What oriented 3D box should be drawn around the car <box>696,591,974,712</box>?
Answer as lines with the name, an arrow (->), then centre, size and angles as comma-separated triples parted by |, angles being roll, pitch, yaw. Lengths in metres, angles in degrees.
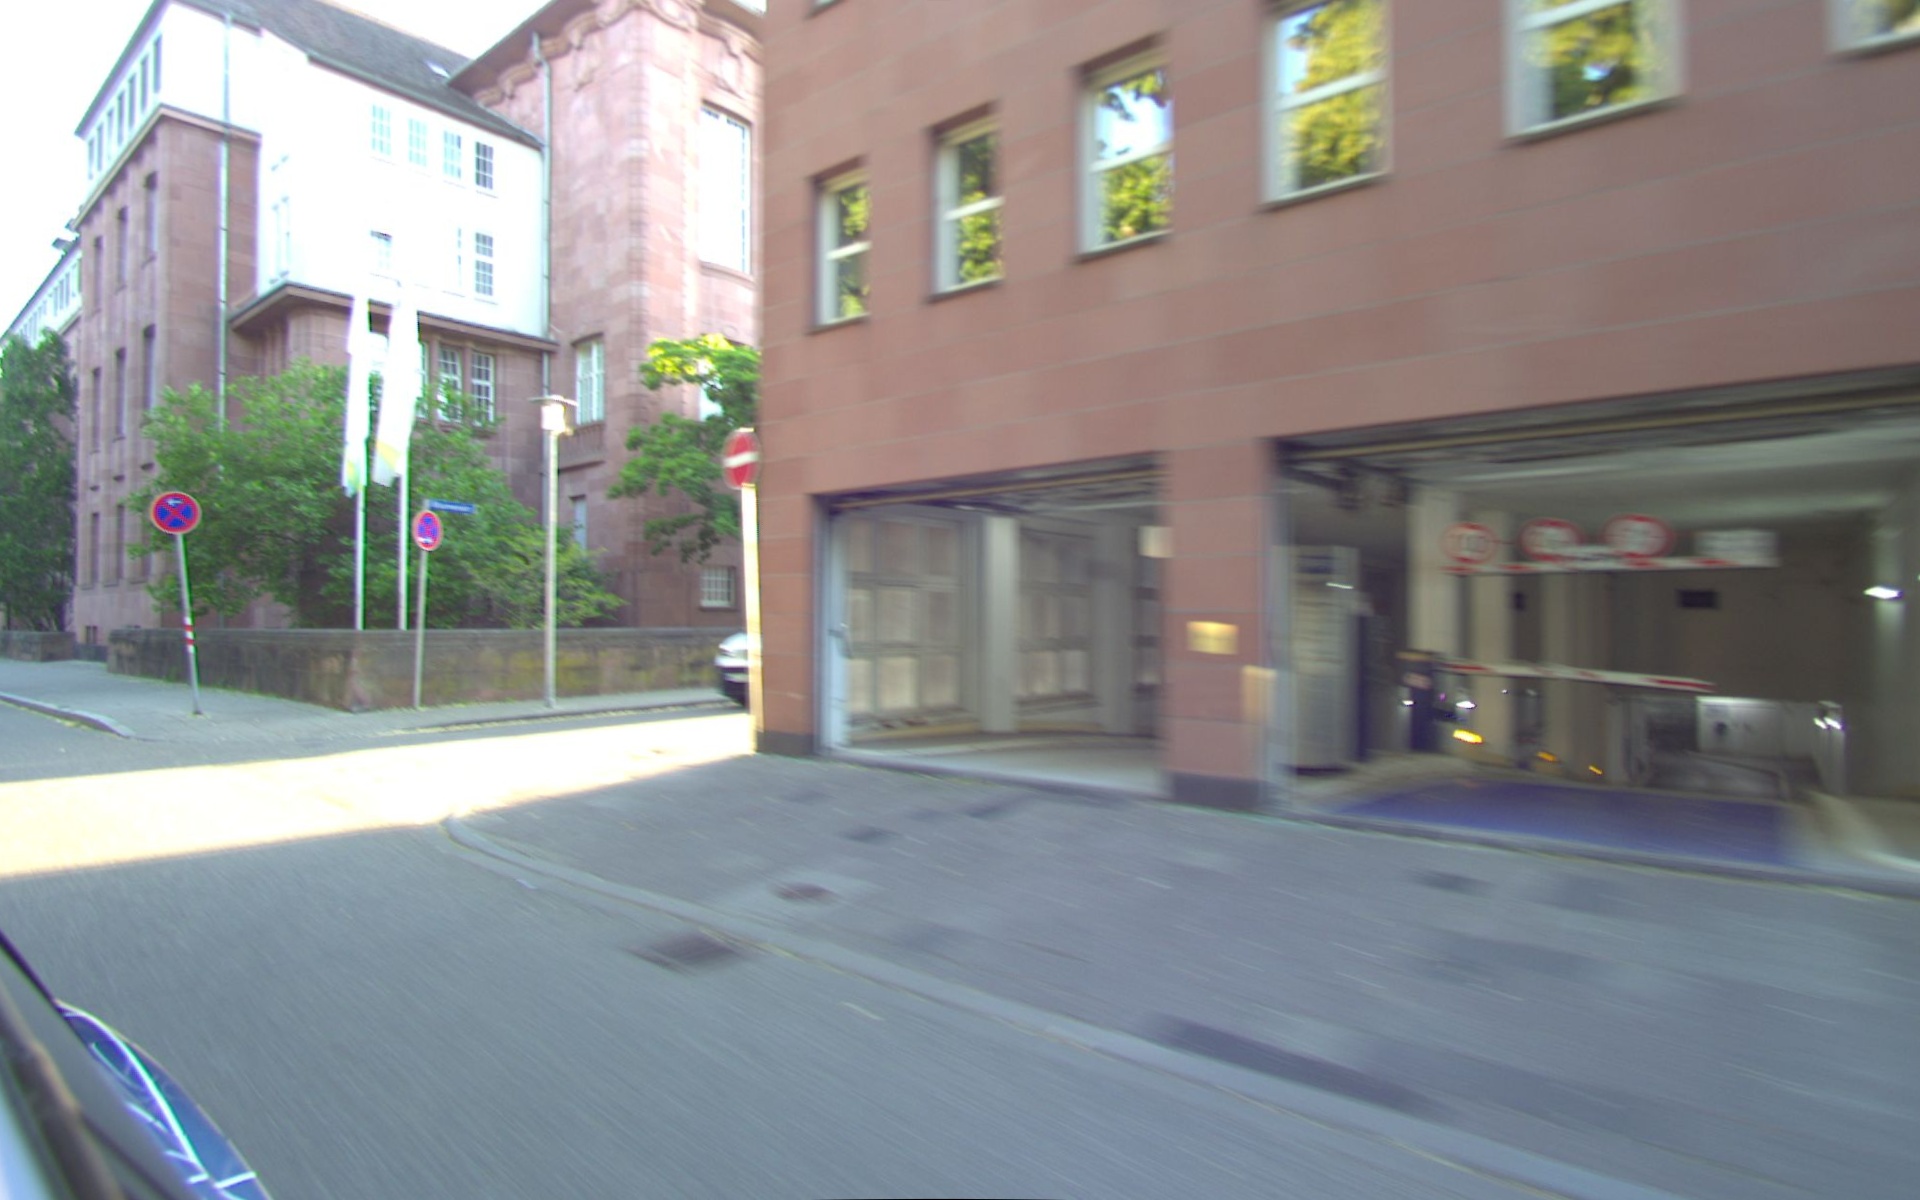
car -> -2.089, 0.881, 18.357 | 1.998, 1.889, 5.042 | -4, -3, 39
